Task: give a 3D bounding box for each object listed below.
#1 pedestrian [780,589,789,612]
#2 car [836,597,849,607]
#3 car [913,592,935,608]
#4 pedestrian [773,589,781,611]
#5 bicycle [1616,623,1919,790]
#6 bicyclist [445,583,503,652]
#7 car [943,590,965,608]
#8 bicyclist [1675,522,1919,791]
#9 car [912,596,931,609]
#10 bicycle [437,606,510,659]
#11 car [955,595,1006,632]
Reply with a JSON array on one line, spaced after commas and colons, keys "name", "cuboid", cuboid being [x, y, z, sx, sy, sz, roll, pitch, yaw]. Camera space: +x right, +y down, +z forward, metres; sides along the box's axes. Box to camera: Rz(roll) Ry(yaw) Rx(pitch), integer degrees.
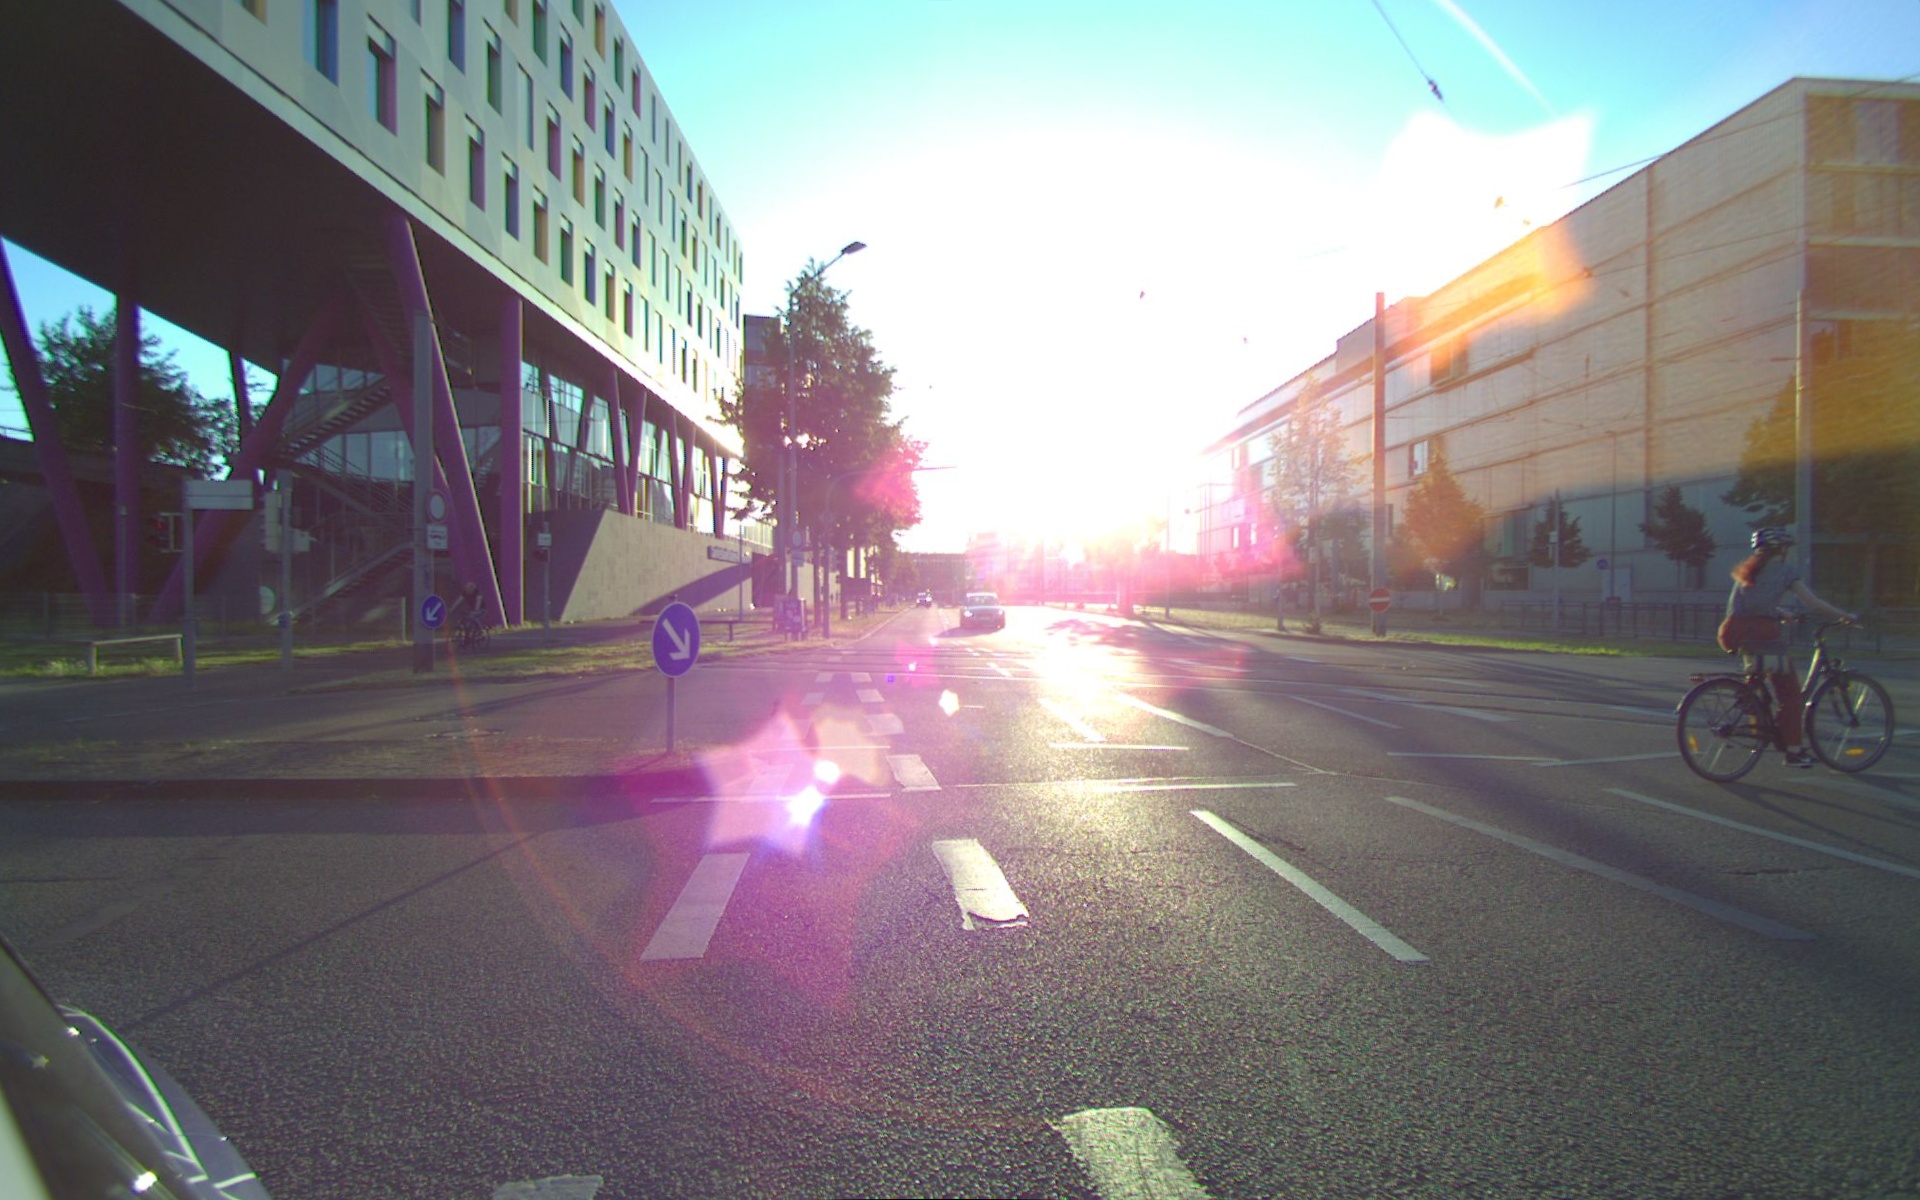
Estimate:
[{"name": "pedestrian", "cuboid": [-16.232, 0.045, 93.662, 0.610, 2.029, 0.812, 1, 0, -1]}, {"name": "car", "cuboid": [-18.542, 0.295, 159.635, 1.695, 1.510, 4.001, 0, 0, -1]}, {"name": "car", "cuboid": [-3.379, -0.036, 95.325, 1.970, 1.431, 4.003, 0, 0, -3]}, {"name": "pedestrian", "cuboid": [-16.967, 0.032, 93.735, 0.610, 2.029, 0.812, 1, 0, -1]}, {"name": "bicycle", "cuboid": [5.800, 0.712, 6.996, 2.093, 1.076, 0.636, 0, 0, 1]}, {"name": "bicyclist", "cuboid": [-11.856, 0.410, 24.724, 0.796, 1.645, 1.288, 0, 0, 1]}, {"name": "car", "cuboid": [-0.623, -0.114, 102.796, 1.970, 1.719, 4.003, 0, 0, -3]}, {"name": "bicyclist", "cuboid": [5.836, 0.361, 7.030, 0.982, 1.730, 1.035, 0, 0, 0]}, {"name": "car", "cuboid": [-4.320, 0.295, 113.014, 1.970, 1.431, 4.003, 0, 0, -3]}, {"name": "bicycle", "cuboid": [-11.843, 0.755, 24.725, 0.733, 1.216, 2.109, 0, 0, 1]}, {"name": "car", "cuboid": [0.790, 0.509, 41.574, 1.972, 1.431, 4.000, 0, 0, 0]}]
